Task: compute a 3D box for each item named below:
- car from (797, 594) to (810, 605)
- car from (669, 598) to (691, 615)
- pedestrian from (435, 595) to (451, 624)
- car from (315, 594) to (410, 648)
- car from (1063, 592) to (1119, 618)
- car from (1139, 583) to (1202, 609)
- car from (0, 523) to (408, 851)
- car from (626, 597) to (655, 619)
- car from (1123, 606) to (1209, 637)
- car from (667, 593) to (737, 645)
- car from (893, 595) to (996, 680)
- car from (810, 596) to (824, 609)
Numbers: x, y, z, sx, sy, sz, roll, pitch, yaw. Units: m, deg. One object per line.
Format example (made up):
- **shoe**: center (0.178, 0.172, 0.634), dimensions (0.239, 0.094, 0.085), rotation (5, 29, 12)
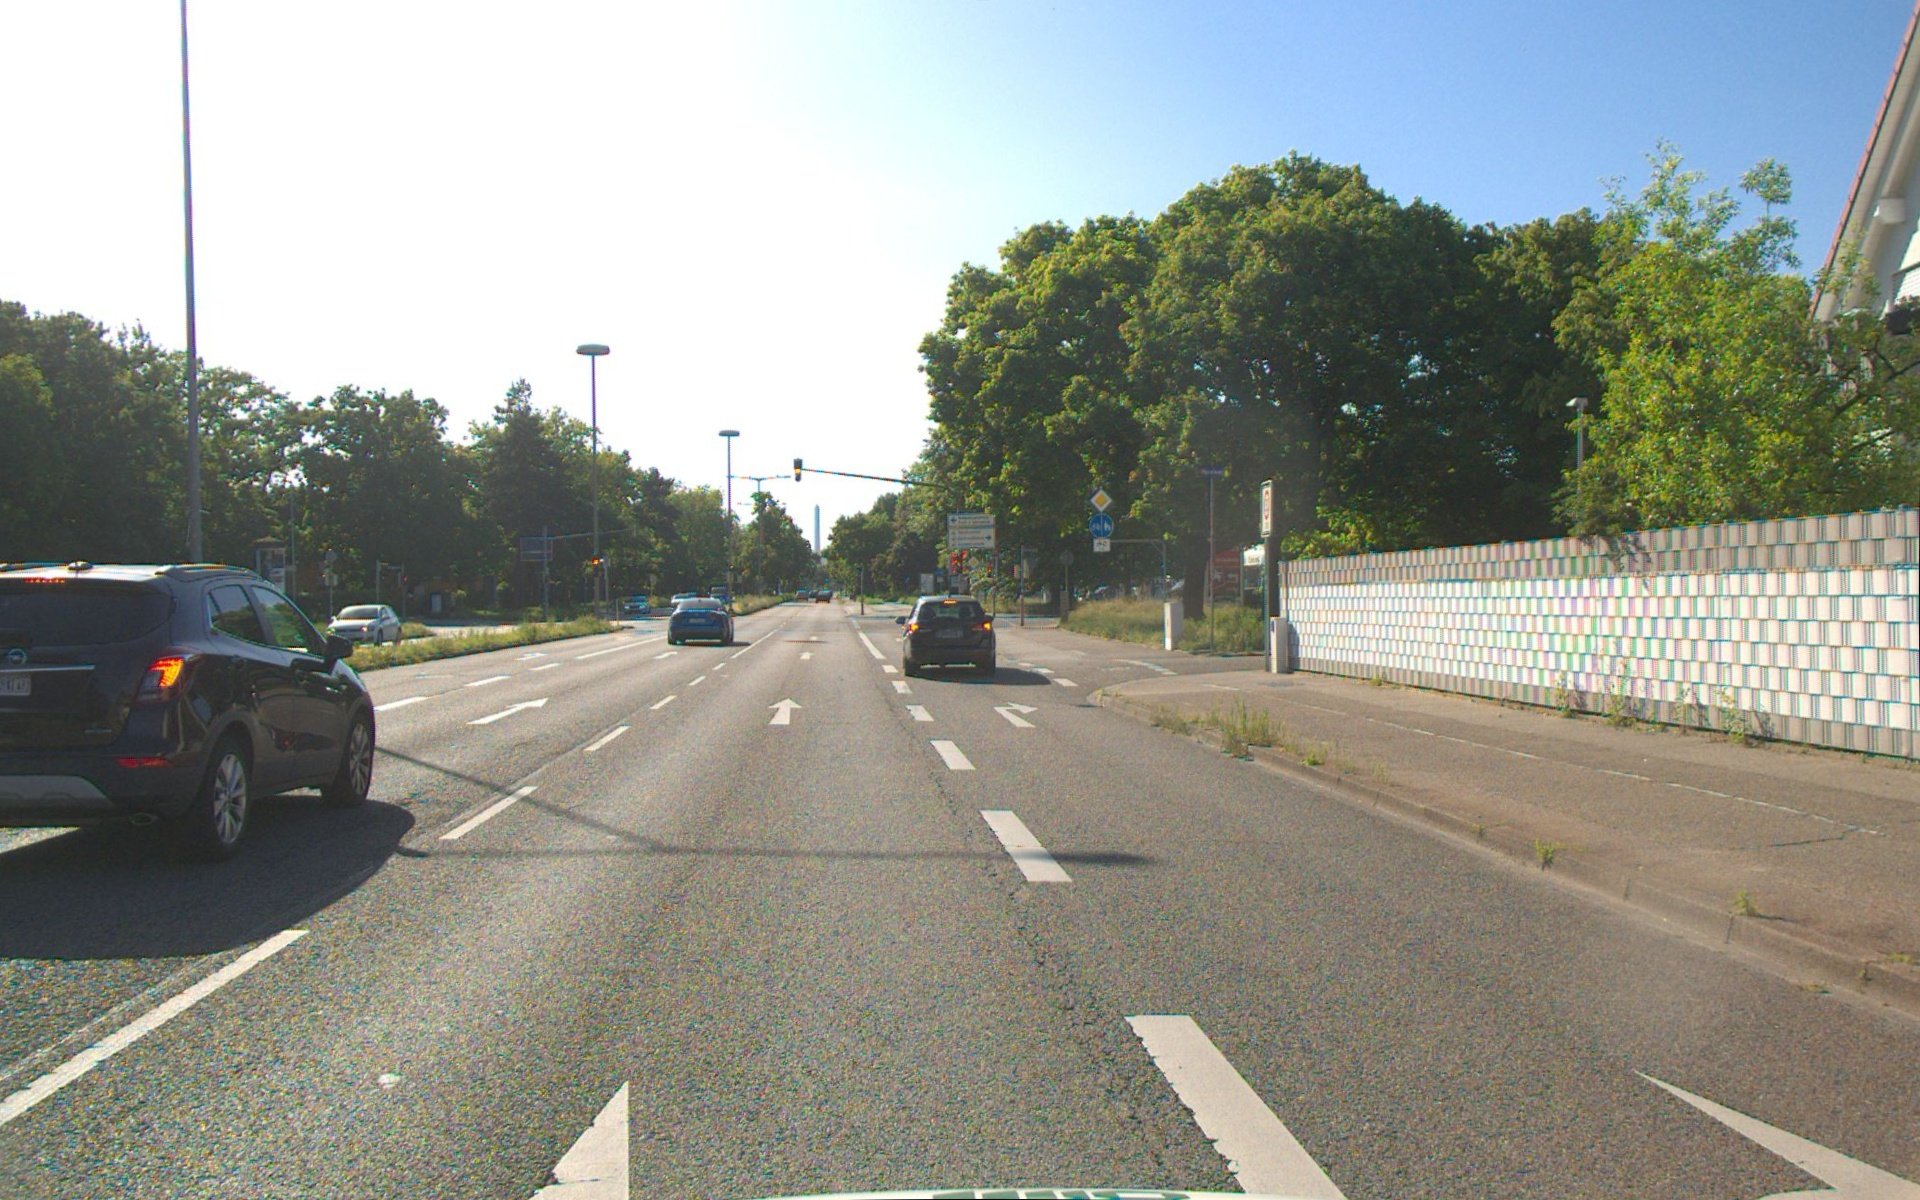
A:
- **car**: center (-22.834, -0.036, 241.622), dimensions (1.789, 1.643, 3.836), rotation (0, 0, -5)
- **car**: center (-29.858, 0.681, 176.281), dimensions (1.827, 1.713, 3.996), rotation (2, 0, -4)
- **pedestrian**: center (-33.988, 0.635, 108.775), dimensions (0.828, 1.868, 0.549), rotation (1, -3, -1)
- **car**: center (-20.667, 0.742, 57.393), dimensions (1.874, 1.733, 4.403), rotation (2, -1, -4)
- **car**: center (9.454, 0.331, 119.067), dimensions (3.674, 1.714, 1.686), rotation (3, -1, -31)
- **car**: center (14.029, -0.249, 110.104), dimensions (3.785, 1.508, 1.792), rotation (3, -1, -24)
- **car**: center (-4.960, 0.454, 10.584), dimensions (1.662, 1.660, 4.413), rotation (0, 0, -4)
- **car**: center (-26.699, 0.709, 138.253), dimensions (1.827, 1.713, 4.256), rotation (2, -1, -4)
- **car**: center (11.053, 1.156, 88.676), dimensions (4.520, 1.601, 2.001), rotation (0, -1, 7)
- **car**: center (-8.093, 0.612, 52.102), dimensions (1.851, 1.579, 3.996), rotation (0, -1, -5)
- **car**: center (-0.365, 0.713, 32.117), dimensions (1.721, 1.535, 3.805), rotation (1, -1, -5)
- **car**: center (-18.367, 0.311, 212.817), dimensions (1.699, 1.613, 3.835), rotation (2, -1, -5)
